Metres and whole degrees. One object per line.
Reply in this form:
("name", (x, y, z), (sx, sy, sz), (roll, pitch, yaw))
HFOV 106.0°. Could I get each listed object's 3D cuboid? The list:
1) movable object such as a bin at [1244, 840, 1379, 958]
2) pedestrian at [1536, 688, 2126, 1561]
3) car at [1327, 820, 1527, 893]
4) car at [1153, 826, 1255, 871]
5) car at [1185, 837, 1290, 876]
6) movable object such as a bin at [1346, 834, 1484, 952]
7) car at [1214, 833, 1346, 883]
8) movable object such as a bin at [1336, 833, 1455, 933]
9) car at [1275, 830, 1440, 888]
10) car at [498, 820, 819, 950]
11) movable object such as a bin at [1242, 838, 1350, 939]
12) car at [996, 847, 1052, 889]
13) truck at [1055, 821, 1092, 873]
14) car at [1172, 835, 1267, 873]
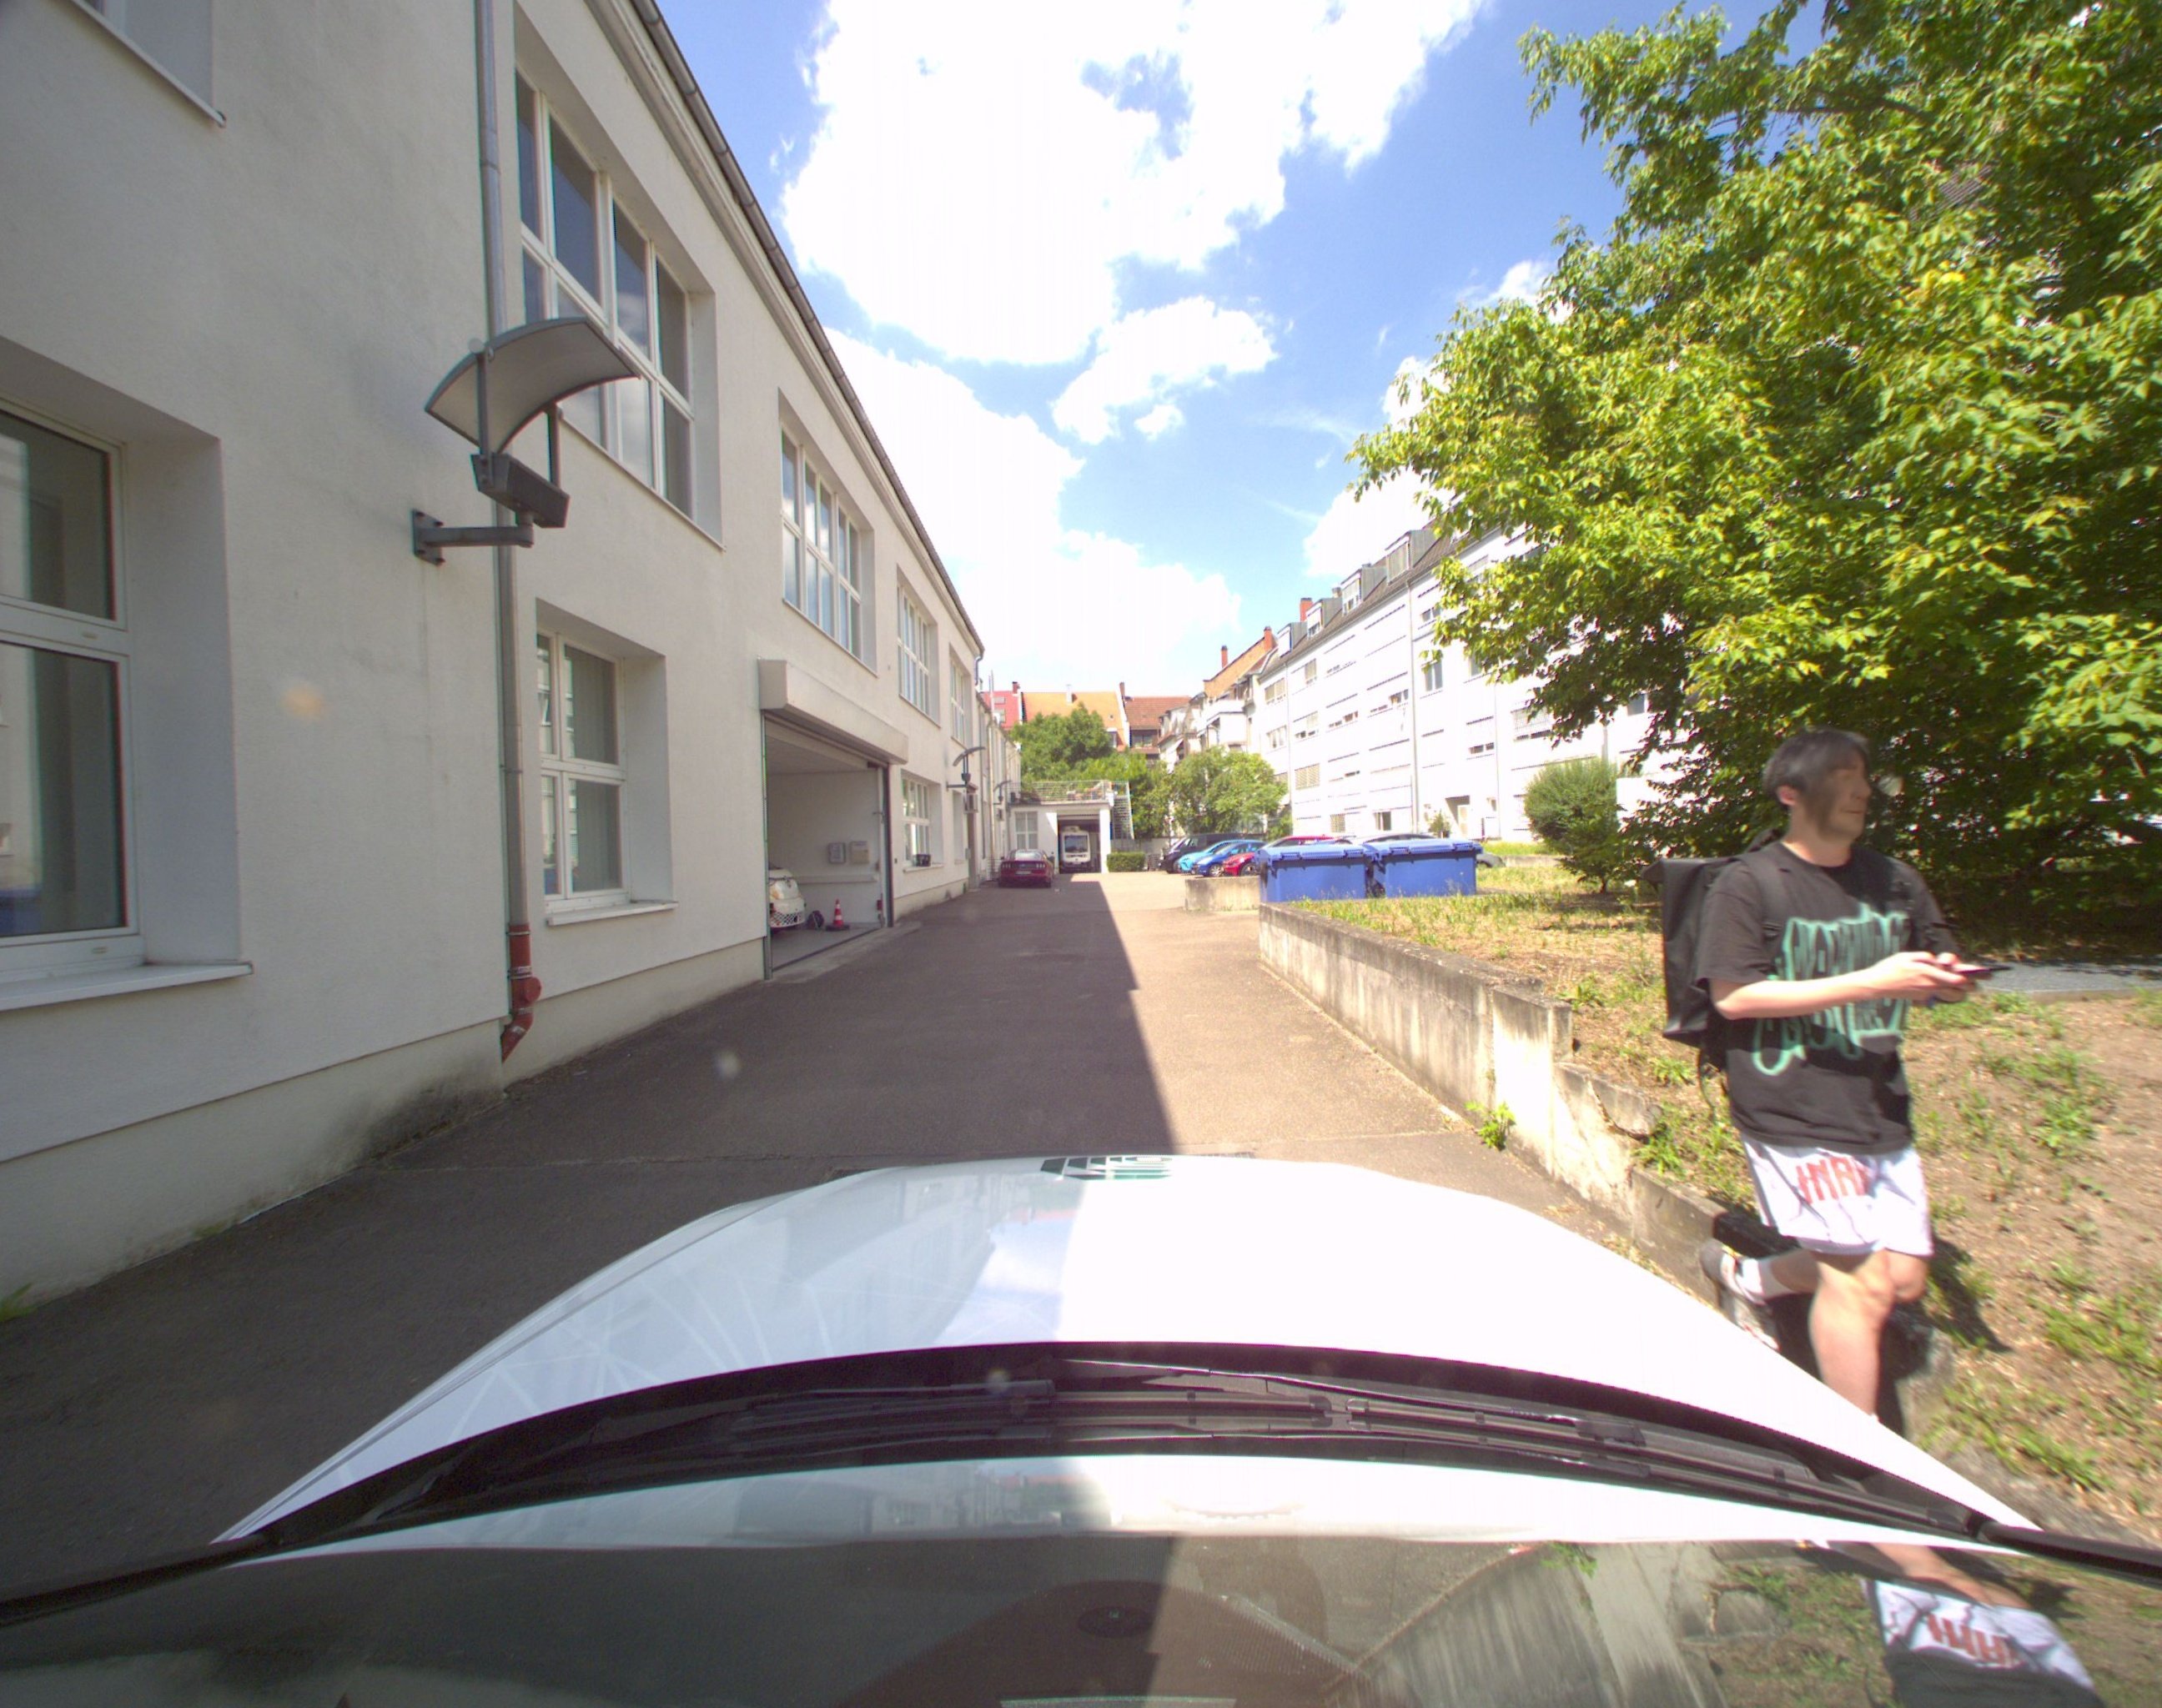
("movable object such as a bin", (2.795, 0.516, 10.047), (1.333, 1.326, 1.161), (-2, 1, 2))
("pedestrian", (1.735, 0.548, 2.028), (0.754, 1.755, 0.752), (-2, 1, 1))
("car", (8.117, 0.051, 19.353), (3.976, 1.478, 1.803), (-3, 1, -2))
("car", (6.027, -0.287, 40.297), (4.665, 1.958, 2.075), (-3, 1, -2))
("car", (6.537, 0.091, 34.285), (3.976, 1.390, 1.803), (-3, 1, -2))
("movable object such as a bin", (4.086, 0.451, 10.082), (1.211, 1.326, 1.161), (-2, 1, 2))
("car", (6.693, 0.118, 27.646), (3.976, 1.478, 1.803), (-3, 1, -2))
("movable object such as a bin", (4.525, 0.394, 11.814), (1.213, 1.326, 1.160), (-3, 1, -2))
("car", (7.683, 0.120, 22.866), (3.976, 1.390, 1.803), (-3, 1, -2))
("car", (-7.135, 0.485, 14.146), (4.464, 2.025, 1.981), (-1, 1, 0))
("movable object such as a bin", (3.085, 0.466, 11.809), (1.189, 1.326, 1.160), (-3, 1, -2))
("car", (-2.044, 0.459, 30.125), (1.793, 1.390, 3.999), (-2, 1, -1))
("truck", (-0.481, -0.397, 49.252), (1.785, 2.937, 4.645), (-2, 0, -5))
("car", (6.281, -0.030, 37.261), (3.976, 1.534, 1.803), (-3, 1, -2))
